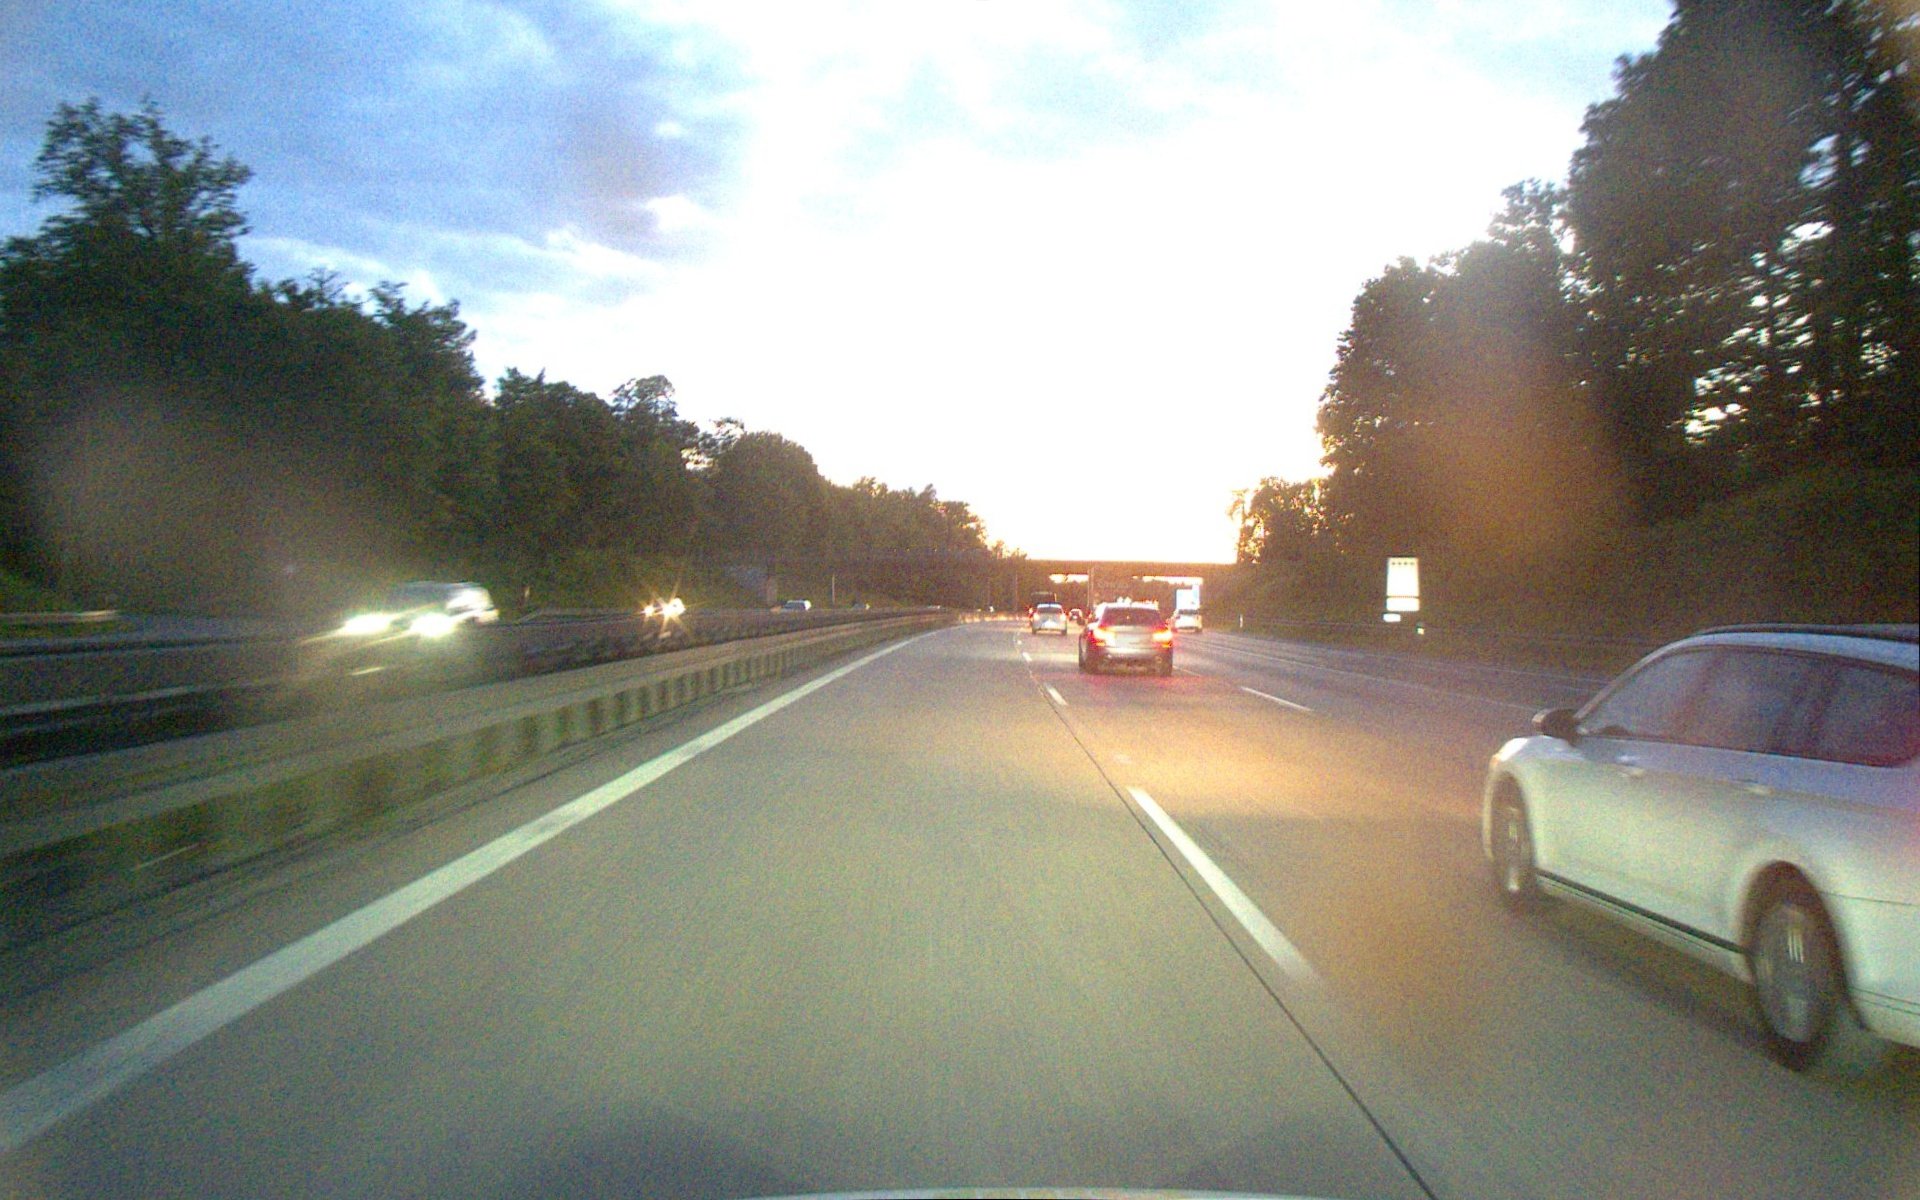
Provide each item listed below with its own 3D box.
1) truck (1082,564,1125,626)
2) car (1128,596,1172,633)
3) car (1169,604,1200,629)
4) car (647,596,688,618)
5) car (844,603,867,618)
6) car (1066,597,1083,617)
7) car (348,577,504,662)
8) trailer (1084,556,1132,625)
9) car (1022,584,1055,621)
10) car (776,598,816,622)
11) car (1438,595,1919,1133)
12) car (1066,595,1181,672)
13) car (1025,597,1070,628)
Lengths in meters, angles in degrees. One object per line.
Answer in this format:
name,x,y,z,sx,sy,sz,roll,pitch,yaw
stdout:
truck,10.394,-0.264,120.292,2.824,4.173,10.835,1,-2,4
car,8.930,0.694,77.993,1.863,1.672,5.055,1,-1,5
car,13.841,1.005,101.979,1.820,1.467,4.114,1,-1,7
car,-19.815,0.463,112.202,1.777,1.405,4.908,1,0,1
car,-10.360,1.053,163.925,1.804,1.480,3.603,1,0,3
car,14.878,0.897,215.254,2.120,2.461,5.566,1,-2,5
car,-11.669,0.402,36.508,1.953,1.735,4.550,1,0,0
trailer,9.736,-0.550,109.707,2.846,4.173,10.361,1,-2,4
car,5.631,0.175,118.551,2.120,2.461,5.566,1,-2,5
car,-9.922,0.601,100.289,1.777,1.405,4.908,1,0,1
car,3.616,0.757,6.822,1.772,1.491,5.132,1,1,0
car,3.548,0.683,36.773,1.871,1.564,5.229,1,0,-2
car,4.330,0.605,82.458,1.822,1.467,3.718,1,0,-4
